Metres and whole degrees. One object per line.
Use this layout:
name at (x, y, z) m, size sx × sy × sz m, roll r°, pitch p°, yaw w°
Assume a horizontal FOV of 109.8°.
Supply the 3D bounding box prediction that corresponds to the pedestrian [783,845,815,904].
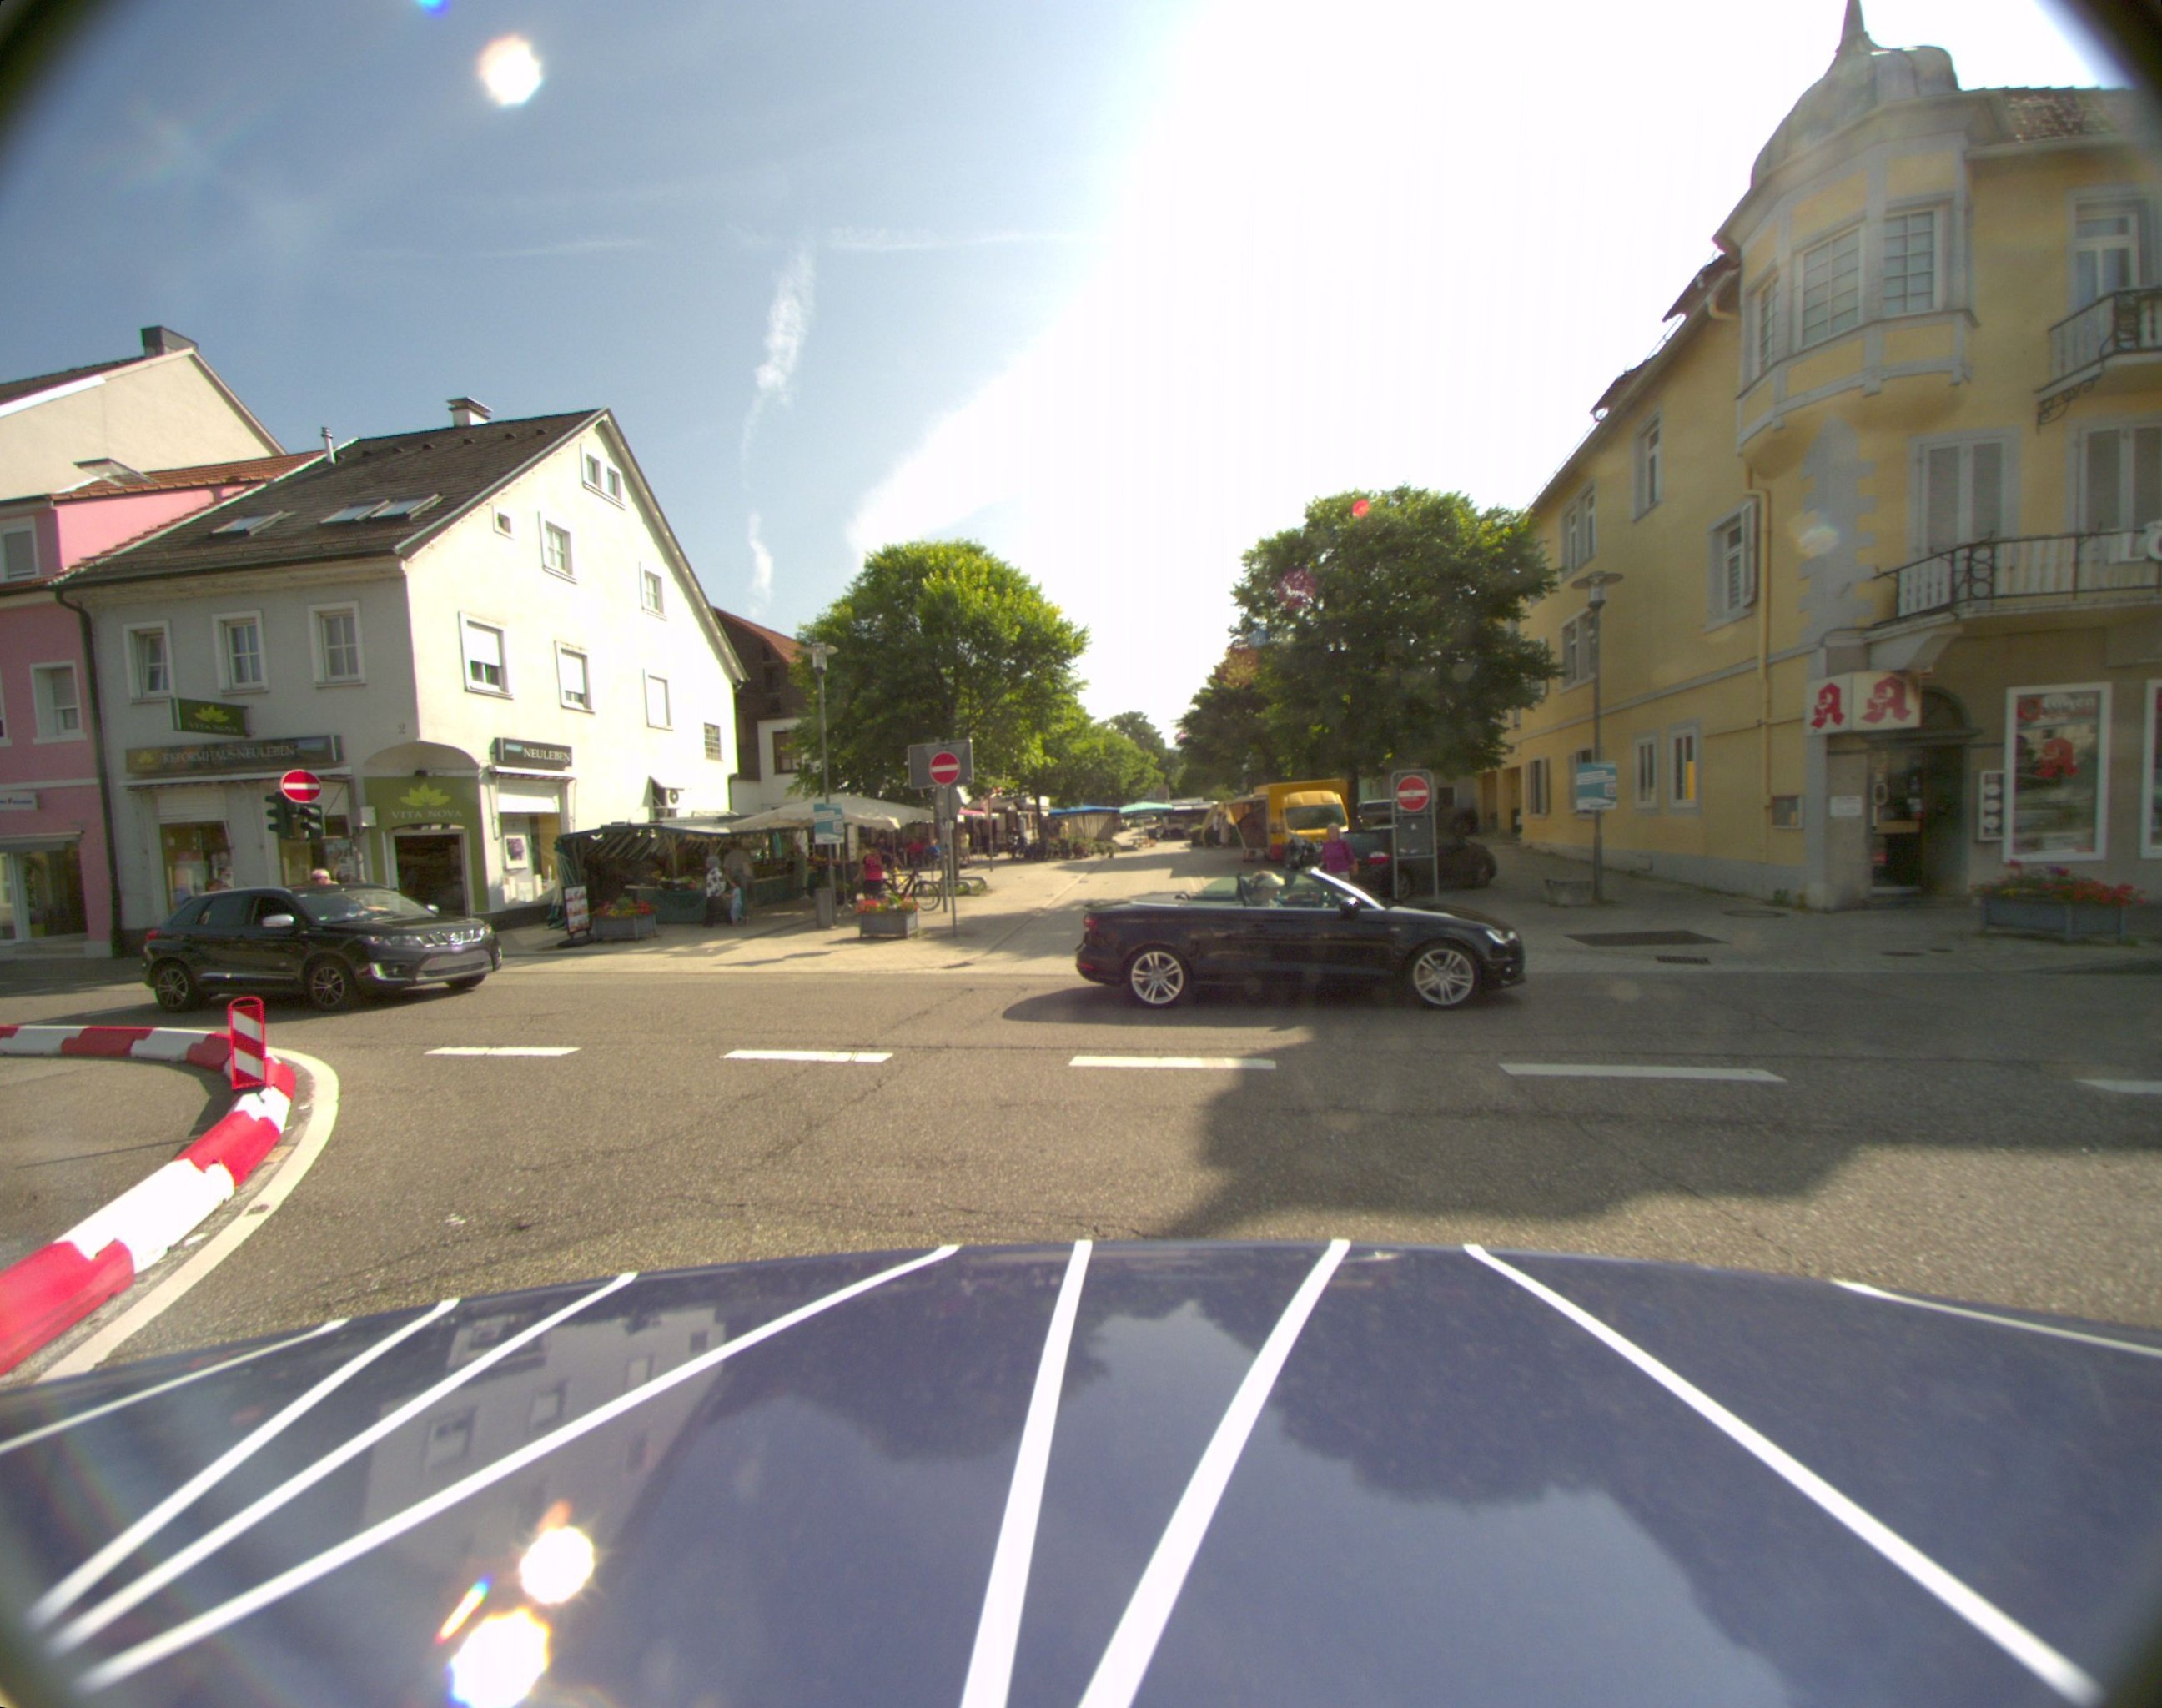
pedestrian at (-7.971, 0.561, 21.494) m, size 0.521 × 1.618 × 0.707 m, roll -2°, pitch 3°, yaw 6°

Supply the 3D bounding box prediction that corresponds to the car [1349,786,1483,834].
car at (14.806, -1.926, 33.830) m, size 5.067 × 1.881 × 2.000 m, roll -2°, pitch 2°, yaw 6°

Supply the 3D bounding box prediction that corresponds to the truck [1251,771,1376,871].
truck at (7.786, -1.243, 26.647) m, size 3.006 × 2.743 × 8.862 m, roll -3°, pitch 3°, yaw 10°

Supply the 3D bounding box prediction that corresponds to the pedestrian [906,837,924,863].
pedestrian at (-7.760, -0.197, 35.569) m, size 0.571 × 1.195 × 0.651 m, roll 0°, pitch 4°, yaw 11°

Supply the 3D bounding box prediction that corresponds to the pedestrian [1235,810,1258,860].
pedestrian at (6.057, -0.701, 27.850) m, size 0.681 × 1.777 × 0.726 m, roll -4°, pitch 4°, yaw 9°

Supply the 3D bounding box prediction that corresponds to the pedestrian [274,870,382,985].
pedestrian at (-13.375, 1.265, 13.516) m, size 0.904 × 1.807 × 1.022 m, roll 3°, pitch 10°, yaw 38°

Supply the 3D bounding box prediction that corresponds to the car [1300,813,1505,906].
car at (6.860, 0.032, 16.155) m, size 3.963 × 1.535 × 1.918 m, roll -6°, pitch 4°, yaw -29°

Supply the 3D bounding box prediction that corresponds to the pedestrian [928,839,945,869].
pedestrian at (-6.059, -0.004, 31.807) m, size 0.572 × 1.195 × 0.650 m, roll -1°, pitch 4°, yaw 0°

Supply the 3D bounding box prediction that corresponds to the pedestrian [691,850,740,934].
pedestrian at (-7.802, 0.781, 16.206) m, size 0.789 × 1.714 × 0.705 m, roll -4°, pitch 3°, yaw -31°

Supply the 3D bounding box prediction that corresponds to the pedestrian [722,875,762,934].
pedestrian at (-7.124, 1.041, 15.971) m, size 0.623 × 1.154 × 0.515 m, roll -4°, pitch 3°, yaw -36°

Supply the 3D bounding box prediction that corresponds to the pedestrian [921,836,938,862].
pedestrian at (-7.072, -0.229, 35.502) m, size 0.571 × 1.195 × 0.651 m, roll 0°, pitch 4°, yaw 11°

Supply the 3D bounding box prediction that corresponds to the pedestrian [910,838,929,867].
pedestrian at (-6.907, -0.067, 32.578) m, size 0.571 × 1.195 × 0.651 m, roll 0°, pitch 4°, yaw 11°

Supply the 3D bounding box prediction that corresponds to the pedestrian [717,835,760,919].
pedestrian at (-8.354, 0.547, 18.560) m, size 0.707 × 1.974 × 0.652 m, roll -3°, pitch 3°, yaw -11°

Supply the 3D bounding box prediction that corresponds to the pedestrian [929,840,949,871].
pedestrian at (-5.782, 0.048, 30.913) m, size 0.699 × 1.195 × 0.571 m, roll -1°, pitch 4°, yaw -4°

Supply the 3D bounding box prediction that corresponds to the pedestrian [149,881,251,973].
pedestrian at (-16.920, 1.384, 14.611) m, size 0.857 × 1.624 × 0.788 m, roll -2°, pitch 5°, yaw 11°

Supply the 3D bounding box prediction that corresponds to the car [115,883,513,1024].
car at (-10.098, 1.283, 10.140) m, size 3.965 × 1.552 × 1.685 m, roll -2°, pitch 2°, yaw 10°

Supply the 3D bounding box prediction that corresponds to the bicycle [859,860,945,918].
bicycle at (-4.244, 0.829, 18.107) m, size 1.861 × 1.228 × 0.617 m, roll -3°, pitch 3°, yaw -3°

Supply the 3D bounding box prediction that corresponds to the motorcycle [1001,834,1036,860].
motorcycle at (-2.990, -0.344, 36.354) m, size 1.530 × 1.189 × 0.643 m, roll 0°, pitch 3°, yaw 10°

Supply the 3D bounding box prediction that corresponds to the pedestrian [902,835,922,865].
pedestrian at (-7.657, -0.197, 34.406) m, size 0.625 × 1.324 × 0.699 m, roll 0°, pitch 4°, yaw 13°

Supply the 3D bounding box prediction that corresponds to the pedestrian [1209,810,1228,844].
pedestrian at (7.003, -1.376, 38.790) m, size 0.681 × 1.672 × 0.582 m, roll -5°, pitch 2°, yaw -6°

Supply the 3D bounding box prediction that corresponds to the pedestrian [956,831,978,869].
pedestrian at (-4.743, -0.186, 31.597) m, size 0.698 × 1.545 × 0.572 m, roll 1°, pitch 4°, yaw 16°

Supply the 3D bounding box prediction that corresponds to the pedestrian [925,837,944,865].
pedestrian at (-6.541, -0.143, 33.932) m, size 0.571 × 1.195 × 0.651 m, roll 0°, pitch 4°, yaw 11°

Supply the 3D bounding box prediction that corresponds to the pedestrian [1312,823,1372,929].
pedestrian at (4.368, 0.351, 12.715) m, size 0.618 × 1.705 × 0.678 m, roll -7°, pitch 5°, yaw -44°

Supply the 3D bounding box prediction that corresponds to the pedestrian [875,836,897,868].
pedestrian at (-8.321, -0.083, 32.498) m, size 0.625 × 1.324 × 0.699 m, roll 0°, pitch 4°, yaw 13°

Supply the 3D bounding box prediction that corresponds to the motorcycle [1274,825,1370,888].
motorcycle at (5.938, 0.045, 18.836) m, size 2.085 × 1.353 × 0.888 m, roll -5°, pitch 2°, yaw 9°

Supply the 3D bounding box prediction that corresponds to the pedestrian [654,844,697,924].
pedestrian at (-10.204, 0.744, 19.123) m, size 0.507 × 1.960 × 0.708 m, roll -1°, pitch 3°, yaw 36°

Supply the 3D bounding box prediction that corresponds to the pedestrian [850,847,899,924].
pedestrian at (-4.570, 0.678, 16.865) m, size 0.883 × 1.650 × 0.571 m, roll -1°, pitch 4°, yaw -3°

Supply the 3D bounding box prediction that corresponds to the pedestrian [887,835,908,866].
pedestrian at (-8.067, -0.154, 33.386) m, size 0.625 × 1.324 × 0.699 m, roll 0°, pitch 4°, yaw 13°

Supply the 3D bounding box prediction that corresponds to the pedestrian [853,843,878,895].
pedestrian at (-6.525, 0.440, 23.040) m, size 0.622 × 1.510 × 0.632 m, roll -3°, pitch 3°, yaw -15°

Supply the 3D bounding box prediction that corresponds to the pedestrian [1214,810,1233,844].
pedestrian at (7.162, -1.367, 38.203) m, size 0.681 × 1.673 × 0.582 m, roll -5°, pitch 4°, yaw -7°

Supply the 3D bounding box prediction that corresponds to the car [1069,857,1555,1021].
car at (2.159, 0.821, 7.779) m, size 4.192 × 1.348 × 1.758 m, roll -3°, pitch 0°, yaw 14°

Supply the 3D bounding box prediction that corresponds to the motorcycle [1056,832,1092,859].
motorcycle at (-0.355, -0.416, 36.283) m, size 0.644 × 1.189 × 1.999 m, roll -3°, pitch 4°, yaw -38°

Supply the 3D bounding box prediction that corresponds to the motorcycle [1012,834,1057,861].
motorcycle at (-2.167, -0.303, 35.205) m, size 2.000 × 1.189 × 0.644 m, roll 1°, pitch 5°, yaw 23°

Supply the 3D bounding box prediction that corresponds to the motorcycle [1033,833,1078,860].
motorcycle at (-1.182, -0.353, 35.560) m, size 2.000 × 1.189 × 0.644 m, roll 1°, pitch 4°, yaw 23°
